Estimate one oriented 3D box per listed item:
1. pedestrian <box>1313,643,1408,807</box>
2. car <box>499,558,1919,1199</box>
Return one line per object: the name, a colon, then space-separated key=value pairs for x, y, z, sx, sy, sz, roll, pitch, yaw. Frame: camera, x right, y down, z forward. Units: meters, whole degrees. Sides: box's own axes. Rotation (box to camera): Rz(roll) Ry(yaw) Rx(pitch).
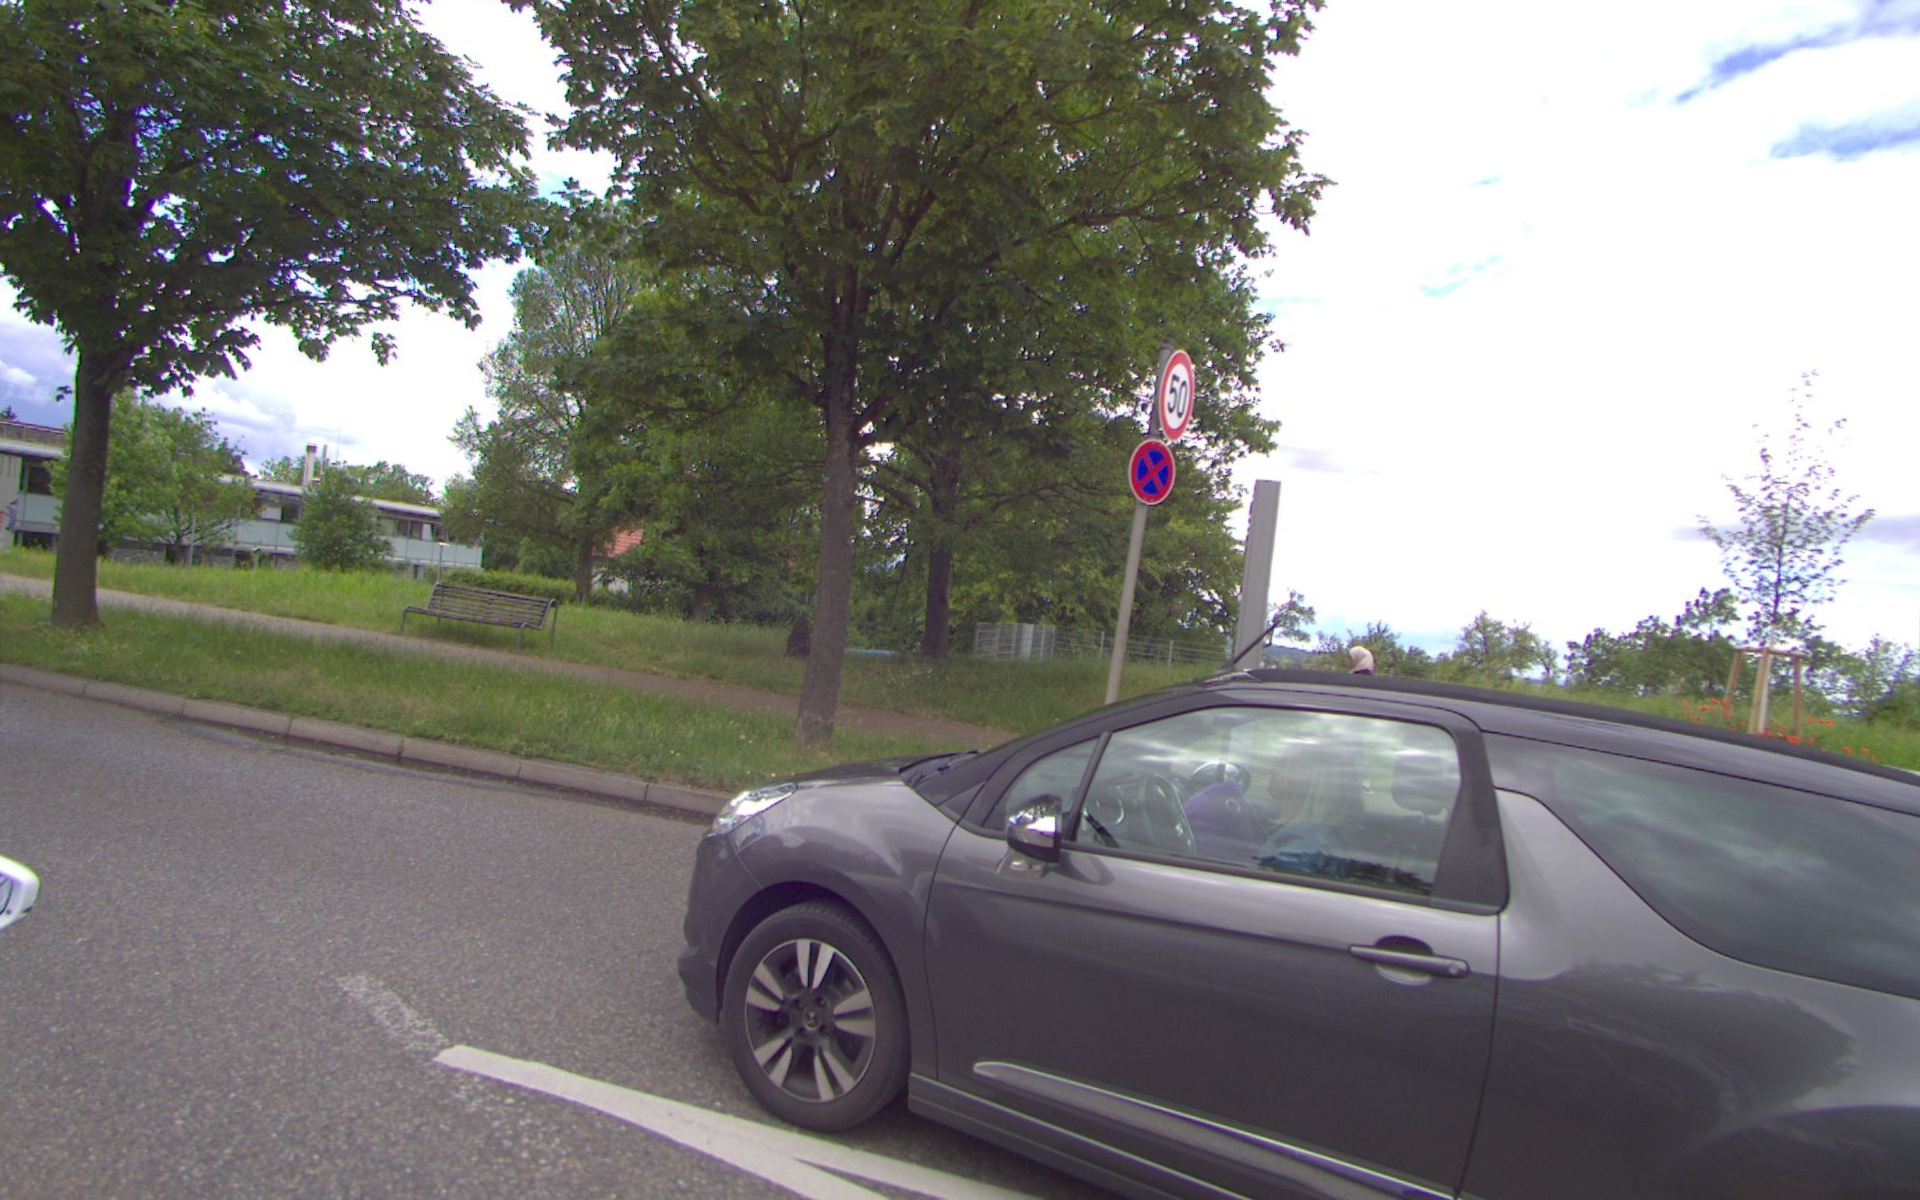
pedestrian: x=4.357 y=1.348 z=10.995 sx=0.689 sy=1.627 sz=0.542 roll=8 pitch=5 yaw=14
car: x=0.689 y=0.883 z=3.127 sx=3.992 sy=1.478 sz=1.705 roll=7 pitch=-1 yaw=29
